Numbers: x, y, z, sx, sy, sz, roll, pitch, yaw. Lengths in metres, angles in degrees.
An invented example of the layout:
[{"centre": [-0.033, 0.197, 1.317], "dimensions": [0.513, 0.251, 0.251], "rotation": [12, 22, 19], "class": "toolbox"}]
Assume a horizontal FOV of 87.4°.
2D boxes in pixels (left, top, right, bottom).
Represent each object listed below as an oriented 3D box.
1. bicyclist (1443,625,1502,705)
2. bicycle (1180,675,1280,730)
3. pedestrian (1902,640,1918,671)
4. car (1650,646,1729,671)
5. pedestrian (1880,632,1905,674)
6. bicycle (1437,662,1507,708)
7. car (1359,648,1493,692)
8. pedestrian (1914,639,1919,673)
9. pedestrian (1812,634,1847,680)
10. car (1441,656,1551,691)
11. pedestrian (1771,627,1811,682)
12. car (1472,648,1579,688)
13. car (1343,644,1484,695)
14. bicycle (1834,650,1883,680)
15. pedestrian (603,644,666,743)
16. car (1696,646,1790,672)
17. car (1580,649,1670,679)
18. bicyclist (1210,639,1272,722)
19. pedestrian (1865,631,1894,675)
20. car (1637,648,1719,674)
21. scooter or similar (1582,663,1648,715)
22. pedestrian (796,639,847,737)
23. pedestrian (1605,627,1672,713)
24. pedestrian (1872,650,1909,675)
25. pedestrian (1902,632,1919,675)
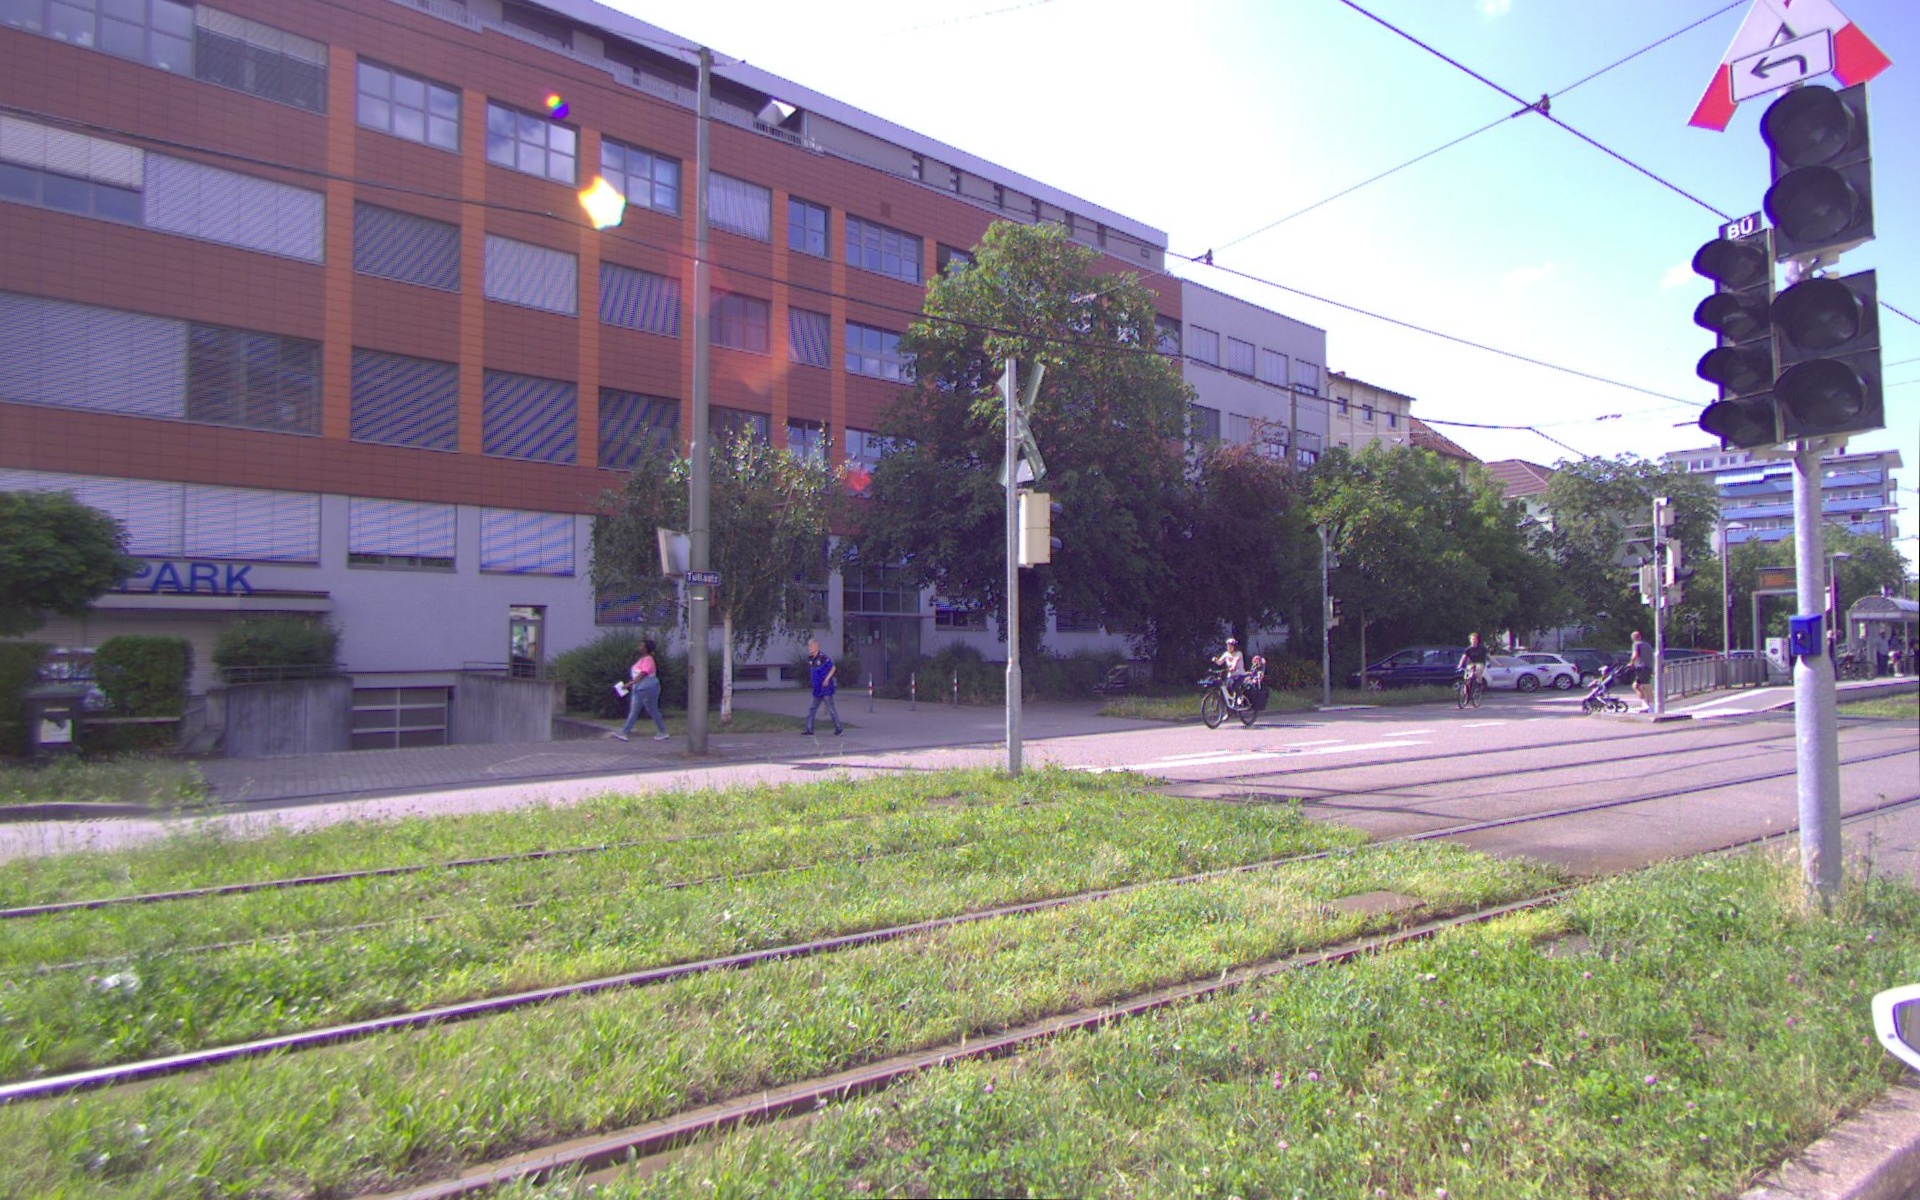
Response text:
[{"centre": [13.628, 1.718, 26.713], "dimensions": [0.938, 2.040, 1.566], "rotation": [-3, -4, 44], "class": "bicyclist"}, {"centre": [5.369, 2.008, 19.936], "dimensions": [2.156, 0.983, 0.676], "rotation": [2, -4, -35], "class": "bicycle"}, {"centre": [44.886, 2.619, 47.454], "dimensions": [0.482, 1.471, 0.461], "rotation": [-3, -4, 42], "class": "pedestrian"}, {"centre": [39.844, 3.211, 54.901], "dimensions": [3.181, 1.326, 1.457], "rotation": [-1, -3, 6], "class": "car"}, {"centre": [39.180, 2.241, 42.194], "dimensions": [0.551, 1.759, 0.590], "rotation": [1, -4, -33], "class": "pedestrian"}, {"centre": [13.618, 2.243, 26.696], "dimensions": [1.776, 1.193, 1.143], "rotation": [3, -6, -45], "class": "bicycle"}, {"centre": [16.581, 2.492, 35.943], "dimensions": [4.049, 1.518, 1.727], "rotation": [-1, -3, 13], "class": "car"}, {"centre": [40.928, 2.347, 42.421], "dimensions": [0.552, 1.444, 0.656], "rotation": [-1, -3, -1], "class": "pedestrian"}, {"centre": [30.878, 2.025, 35.679], "dimensions": [0.678, 1.589, 0.661], "rotation": [1, -4, -30], "class": "pedestrian"}, {"centre": [19.907, 2.720, 37.422], "dimensions": [3.320, 1.252, 1.546], "rotation": [-1, -3, 13], "class": "car"}, {"centre": [26.899, 1.752, 32.526], "dimensions": [0.654, 1.749, 0.715], "rotation": [0, -2, 4], "class": "pedestrian"}, {"centre": [22.138, 2.647, 39.434], "dimensions": [3.320, 1.524, 1.546], "rotation": [-1, -3, 14], "class": "car"}, {"centre": [15.238, 2.330, 33.956], "dimensions": [4.049, 1.662, 1.727], "rotation": [-1, -3, 13], "class": "car"}, {"centre": [31.242, 2.265, 34.927], "dimensions": [1.749, 0.987, 0.683], "rotation": [1, -5, -29], "class": "bicycle"}, {"centre": [-5.425, 1.531, 16.732], "dimensions": [0.879, 1.594, 0.742], "rotation": [1, -3, -30], "class": "pedestrian"}, {"centre": [45.619, 3.446, 58.583], "dimensions": [3.919, 1.385, 1.718], "rotation": [-1, -3, 11], "class": "car"}, {"centre": [30.910, 2.973, 46.756], "dimensions": [3.181, 1.326, 1.457], "rotation": [-1, -3, 4], "class": "car"}, {"centre": [5.574, 1.590, 19.952], "dimensions": [0.855, 1.602, 0.780], "rotation": [1, -4, -35], "class": "bicyclist"}, {"centre": [36.088, 2.070, 39.422], "dimensions": [0.650, 1.714, 0.650], "rotation": [2, -4, -37], "class": "pedestrian"}, {"centre": [37.654, 3.173, 52.717], "dimensions": [3.181, 1.326, 1.457], "rotation": [-1, -3, 6], "class": "car"}, {"centre": [14.171, 1.912, 21.726], "dimensions": [0.790, 1.078, 0.947], "rotation": [2, -5, -38], "class": "scooter or similar"}, {"centre": [-2.444, 1.542, 17.751], "dimensions": [0.738, 1.678, 0.554], "rotation": [2, -3, -30], "class": "pedestrian"}, {"centre": [14.577, 1.500, 21.588], "dimensions": [0.995, 1.798, 0.864], "rotation": [2, -5, -40], "class": "pedestrian"}, {"centre": [37.324, 2.516, 40.286], "dimensions": [0.789, 1.001, 0.919], "rotation": [3, -5, -35], "class": "pedestrian"}, {"centre": [40.344, 2.255, 42.415], "dimensions": [0.631, 1.789, 0.602], "rotation": [1, -3, -29], "class": "pedestrian"}]
